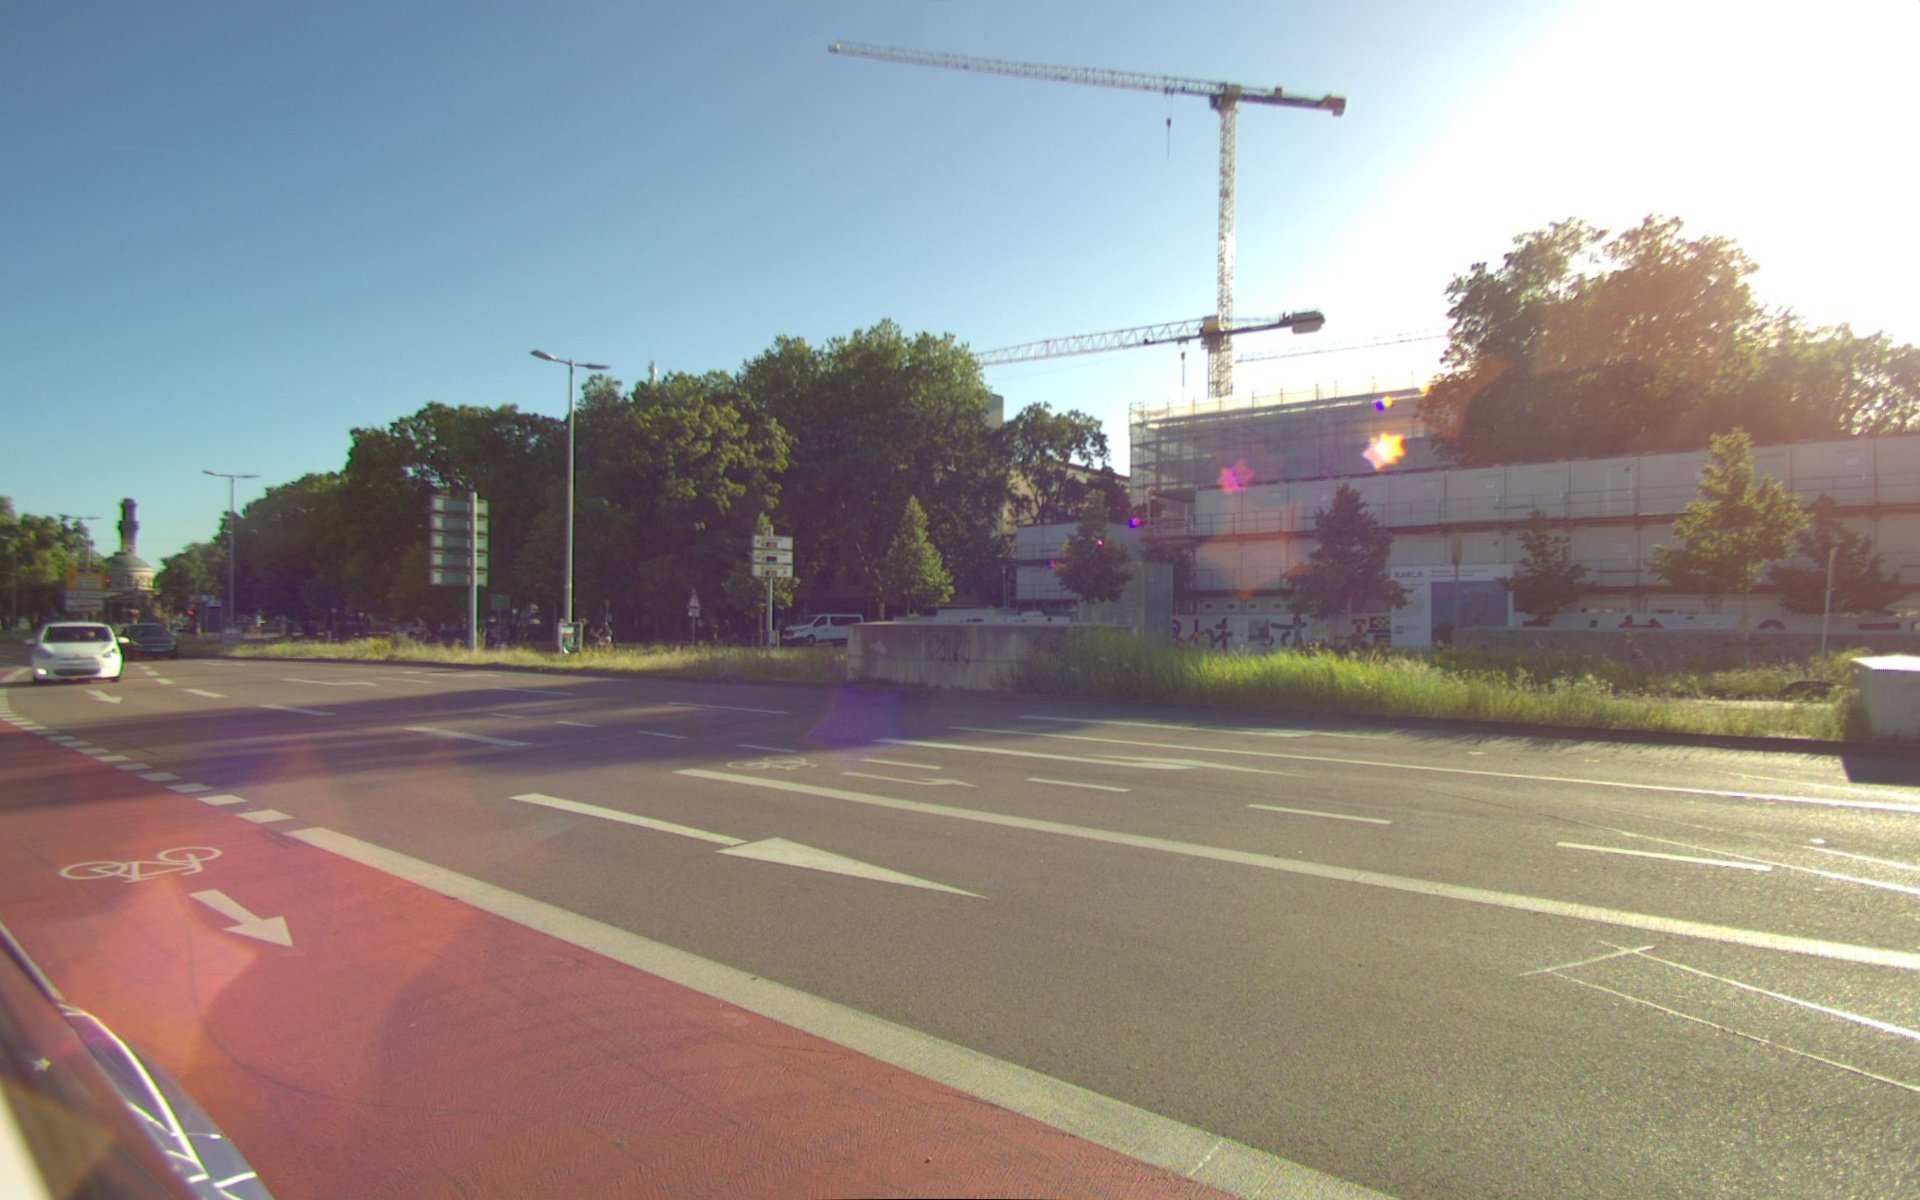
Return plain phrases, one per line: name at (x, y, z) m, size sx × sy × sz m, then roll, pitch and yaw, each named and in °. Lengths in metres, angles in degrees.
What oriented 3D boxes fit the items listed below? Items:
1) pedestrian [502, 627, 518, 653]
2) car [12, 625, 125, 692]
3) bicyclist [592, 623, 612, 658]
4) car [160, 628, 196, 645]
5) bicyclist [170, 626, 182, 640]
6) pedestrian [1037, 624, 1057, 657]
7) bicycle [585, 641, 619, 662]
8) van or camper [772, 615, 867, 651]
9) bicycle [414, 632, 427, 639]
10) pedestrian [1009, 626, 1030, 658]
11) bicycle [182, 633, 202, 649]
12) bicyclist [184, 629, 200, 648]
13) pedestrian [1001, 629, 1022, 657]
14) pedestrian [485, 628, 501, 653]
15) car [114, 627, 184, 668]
pedestrian at (-30.856, 2.724, 69.330) m, size 0.761 × 1.754 × 0.763 m, roll -2°, pitch -2°, yaw 44°
car at (-22.014, 1.382, 24.959) m, size 3.764 × 1.475 × 1.657 m, roll -1°, pitch -1°, yaw 42°
bicyclist at (-15.606, 1.774, 44.115) m, size 0.600 × 1.500 × 0.681 m, roll 1°, pitch -3°, yaw -45°
car at (-75.457, 3.518, 97.651) m, size 4.585 × 1.538 × 1.913 m, roll -2°, pitch -2°, yaw 41°
bicyclist at (-92.942, 3.909, 119.952) m, size 0.837 × 1.631 × 0.976 m, roll 1°, pitch -2°, yaw -21°
pedestrian at (4.502, 2.085, 52.581) m, size 0.834 × 1.701 × 0.574 m, roll -2°, pitch -3°, yaw 38°
bicycle at (-15.606, 2.232, 44.098) m, size 0.605 × 0.868 × 1.952 m, roll 1°, pitch -2°, yaw -44°
van or camper at (-8.491, 2.001, 61.549) m, size 2.257 × 2.029 × 5.603 m, roll 1°, pitch -1°, yaw 41°
bicycle at (-69.422, 4.621, 130.141) m, size 1.600 × 0.896 × 0.762 m, roll -1°, pitch -2°, yaw 32°
pedestrian at (2.964, 2.066, 50.218) m, size 0.834 × 1.570 × 0.574 m, roll -2°, pitch -3°, yaw 38°
bicycle at (-66.260, 3.541, 87.275) m, size 2.255 × 1.285 × 0.751 m, roll 1°, pitch -1°, yaw 38°
bicyclist at (-66.251, 3.304, 87.283) m, size 1.200 × 1.602 × 0.740 m, roll 1°, pitch -1°, yaw 37°
pedestrian at (2.541, 2.101, 49.724) m, size 0.834 × 1.388 × 0.574 m, roll -2°, pitch -3°, yaw 38°
pedestrian at (-31.606, 2.729, 68.458) m, size 0.726 × 1.653 × 0.734 m, roll -2°, pitch -2°, yaw 44°
car at (-35.338, 2.020, 44.071) m, size 3.998 × 1.651 × 1.711 m, roll -1°, pitch -1°, yaw 41°
